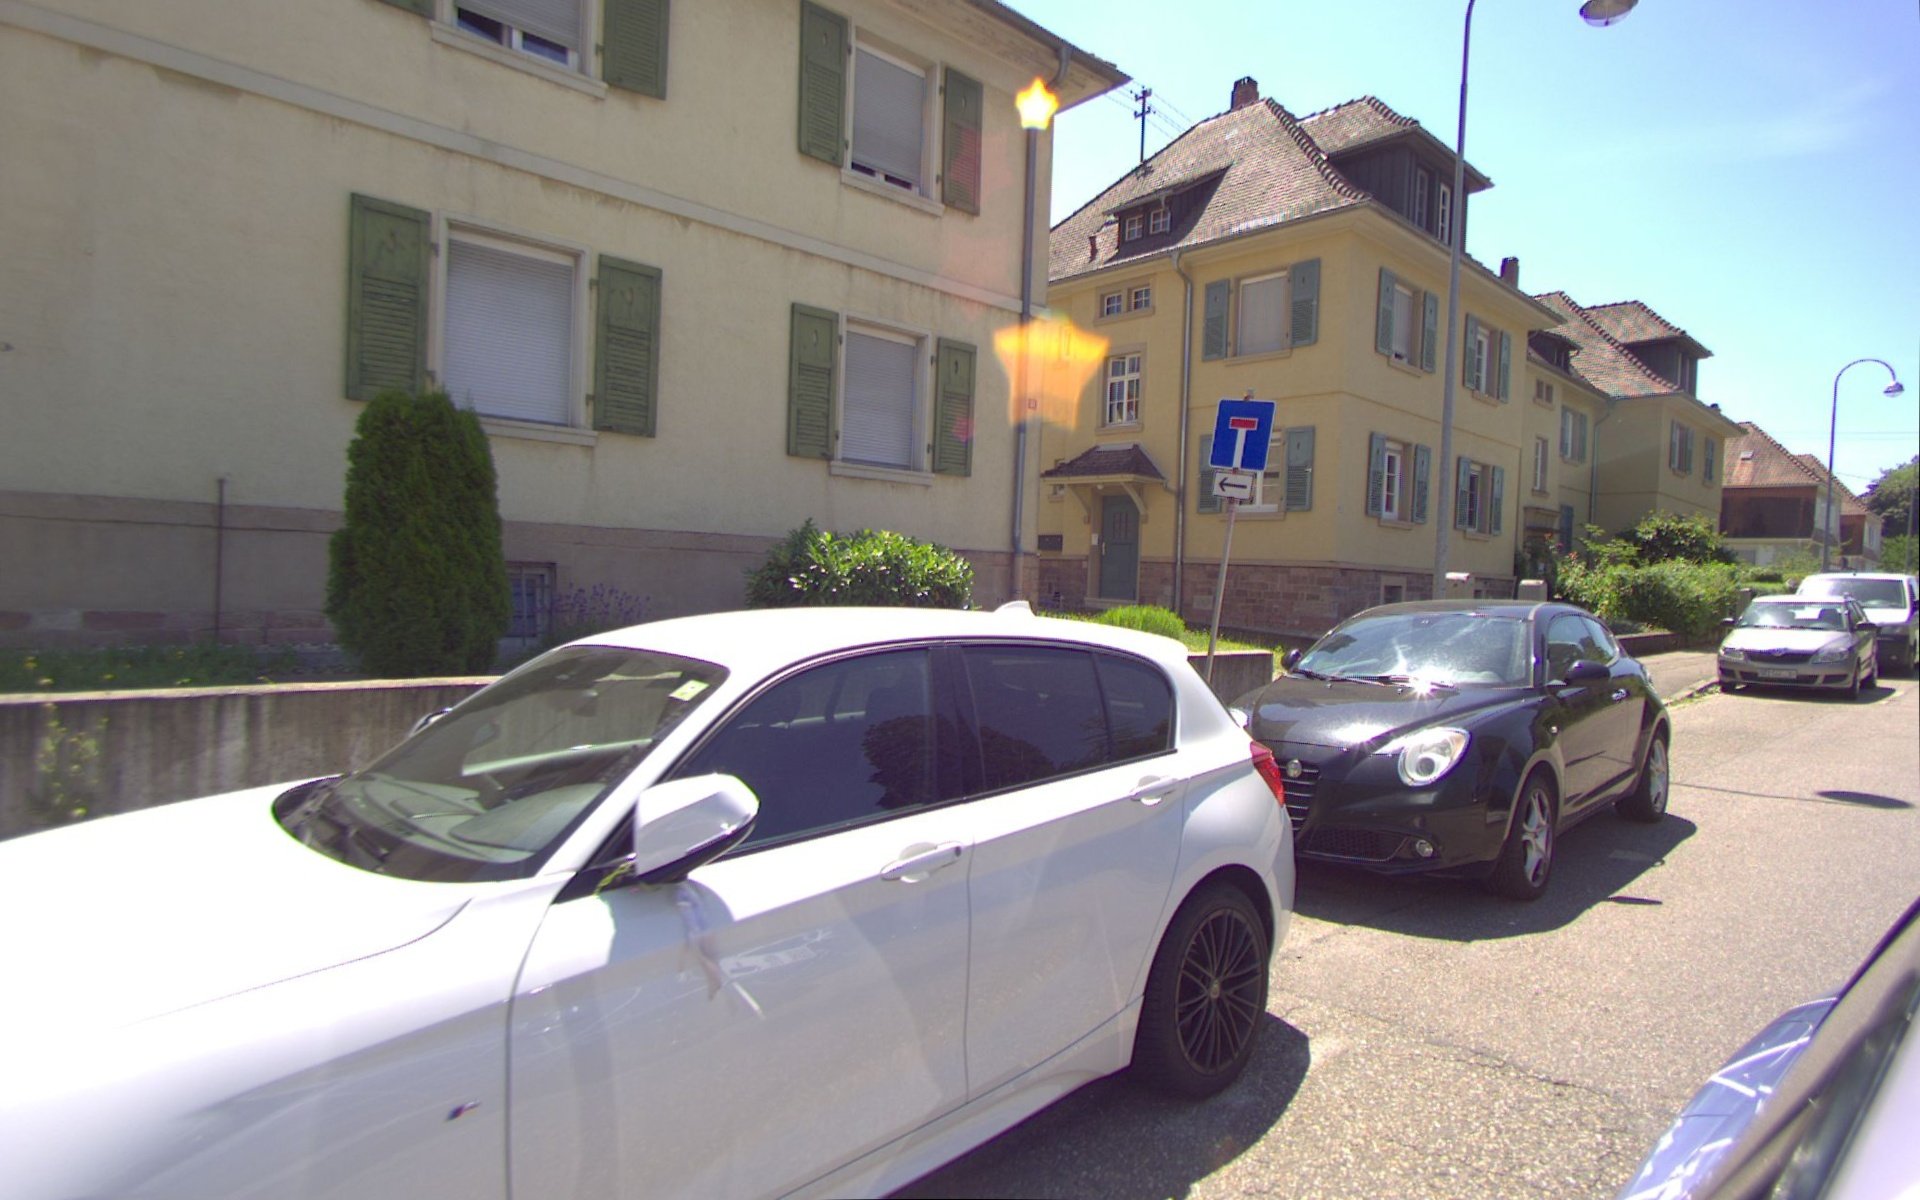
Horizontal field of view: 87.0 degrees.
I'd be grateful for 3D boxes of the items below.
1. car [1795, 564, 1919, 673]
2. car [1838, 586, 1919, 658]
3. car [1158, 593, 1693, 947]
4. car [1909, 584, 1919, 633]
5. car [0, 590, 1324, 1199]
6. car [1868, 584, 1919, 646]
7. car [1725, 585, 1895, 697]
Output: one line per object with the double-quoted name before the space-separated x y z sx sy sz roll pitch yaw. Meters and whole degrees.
"car" 17.907 0.290 19.780 4.612 1.892 1.849 -1 1 -43
"car" 21.798 0.442 23.406 4.264 1.533 1.803 -1 1 -43
"car" 3.010 0.683 6.102 3.933 1.448 1.597 0 0 -44
"car" 32.068 0.237 32.655 4.264 1.533 1.803 -1 1 -43
"car" -0.785 0.710 2.662 3.932 1.453 1.668 -1 1 -43
"car" 25.129 0.346 26.368 4.264 1.533 1.803 -1 1 -43
"car" 13.234 0.545 15.674 3.933 1.522 1.598 0 0 -44
